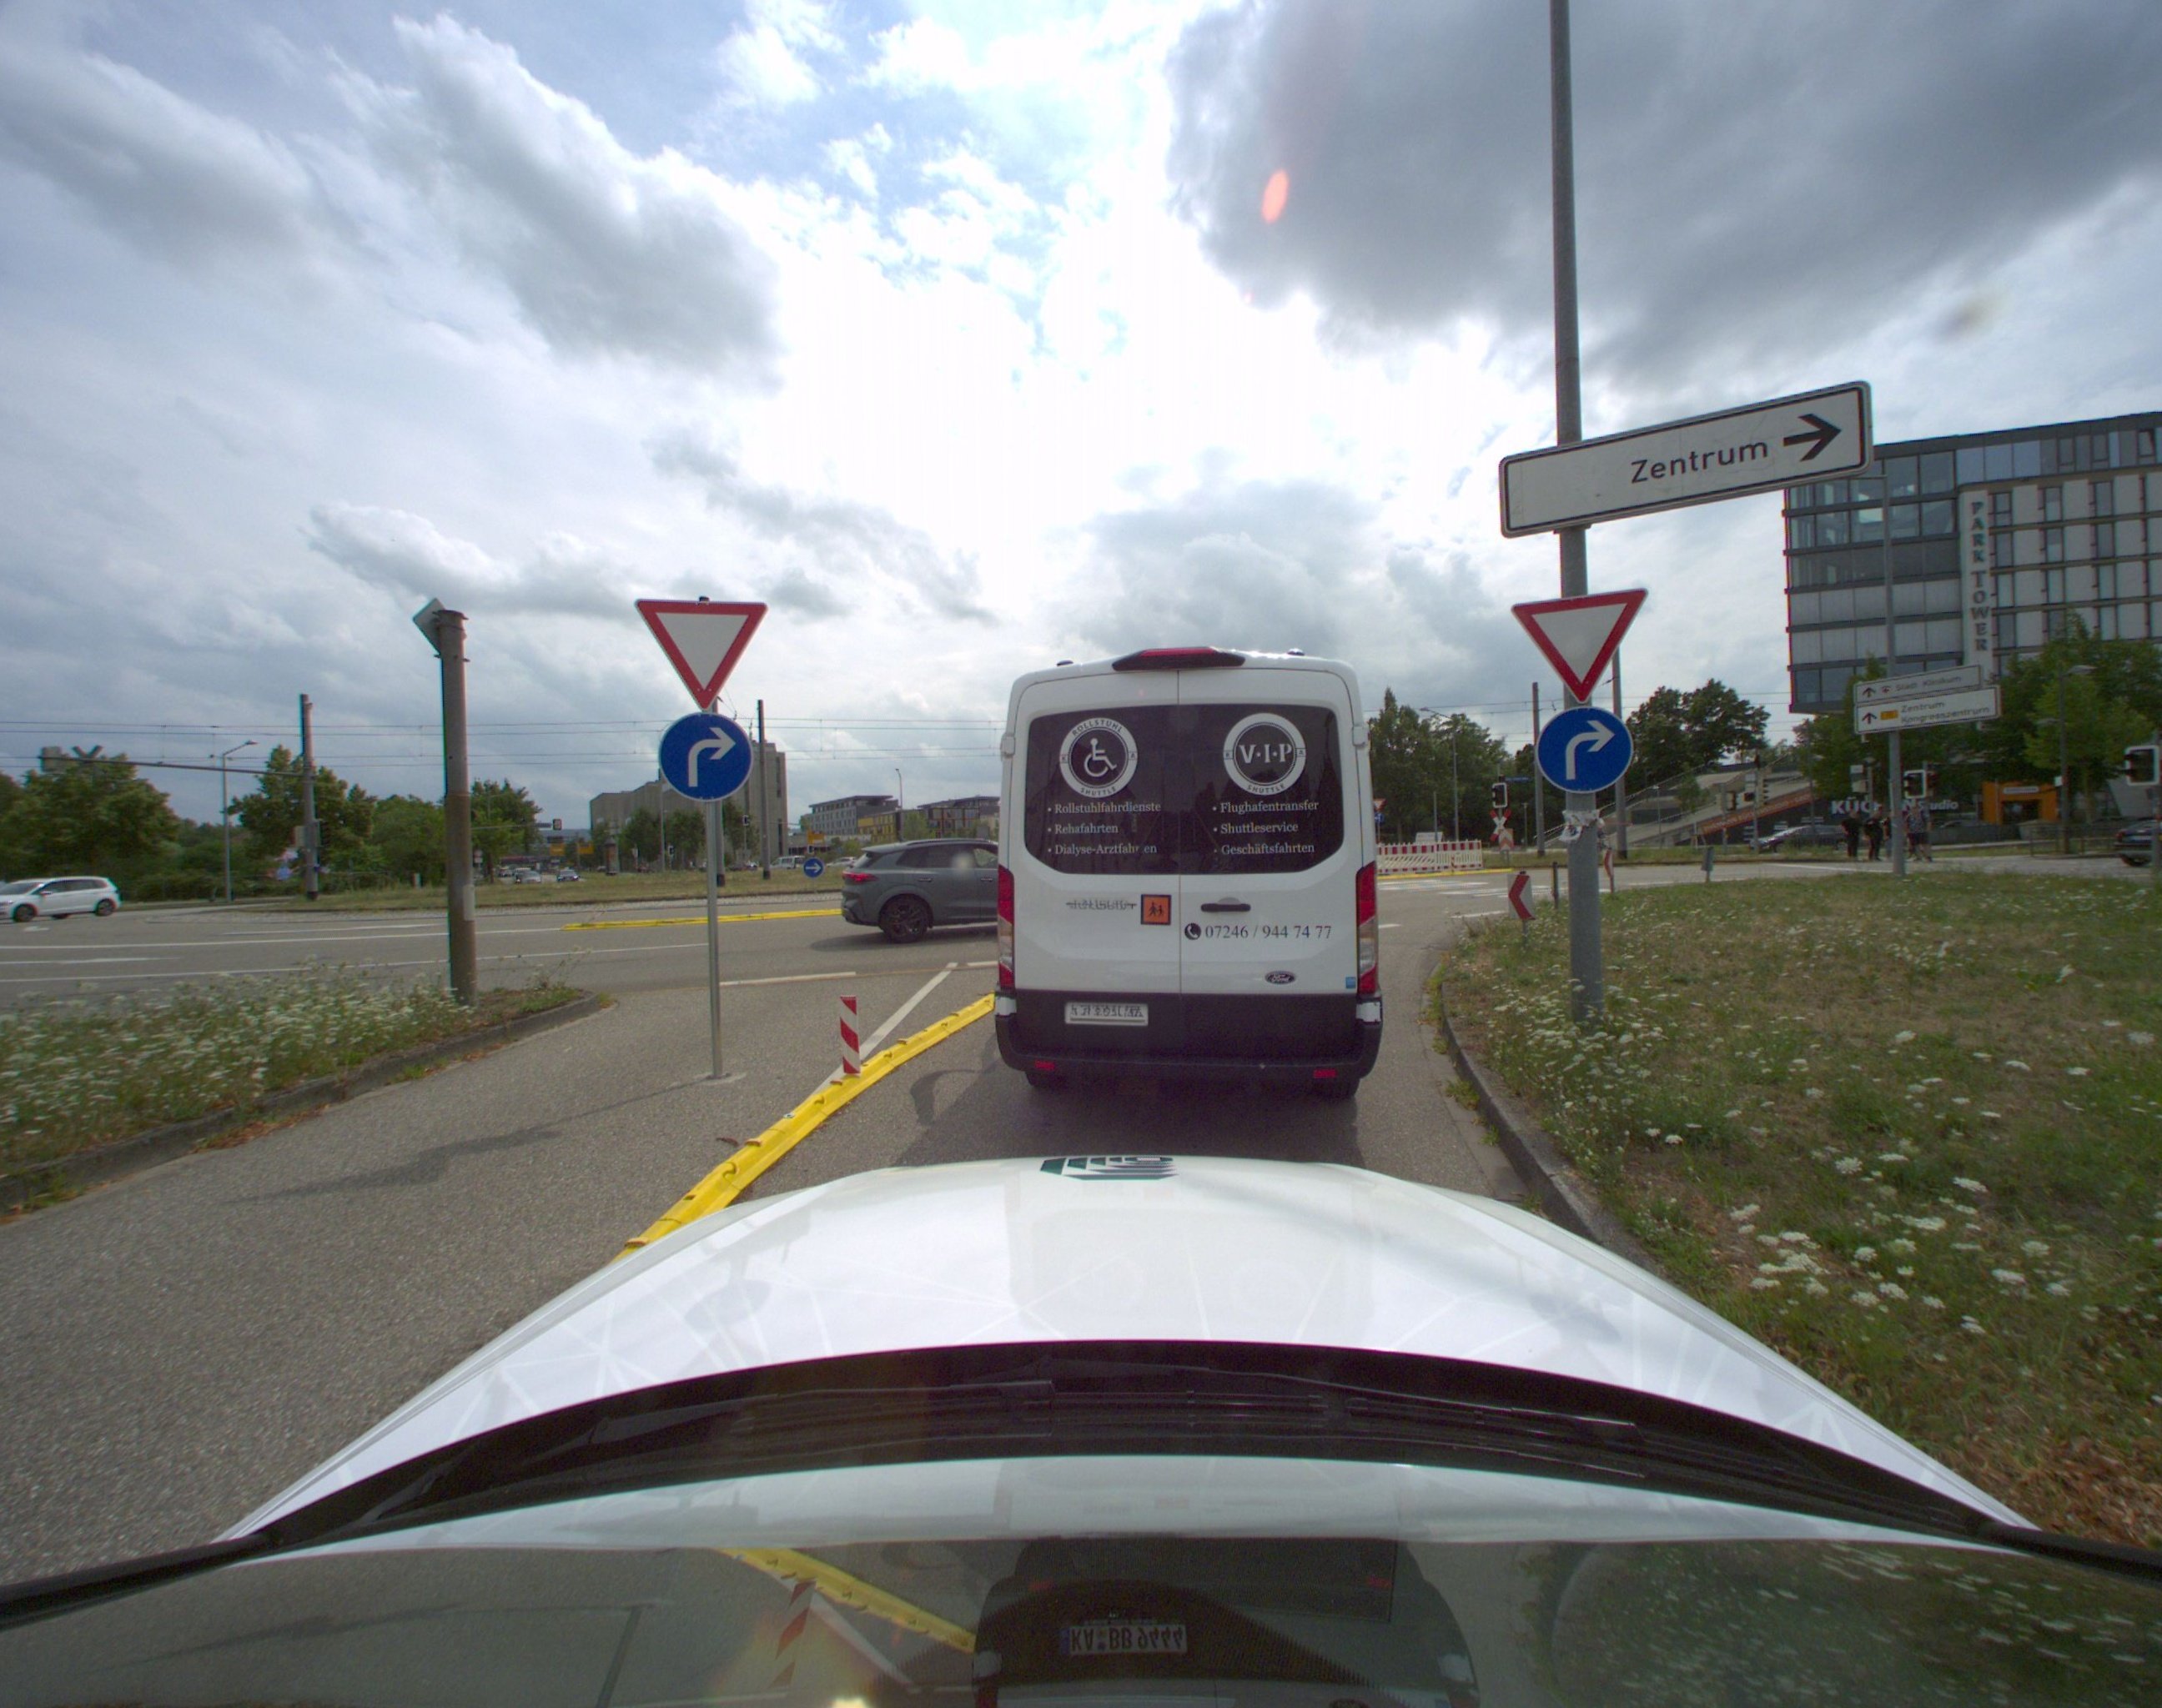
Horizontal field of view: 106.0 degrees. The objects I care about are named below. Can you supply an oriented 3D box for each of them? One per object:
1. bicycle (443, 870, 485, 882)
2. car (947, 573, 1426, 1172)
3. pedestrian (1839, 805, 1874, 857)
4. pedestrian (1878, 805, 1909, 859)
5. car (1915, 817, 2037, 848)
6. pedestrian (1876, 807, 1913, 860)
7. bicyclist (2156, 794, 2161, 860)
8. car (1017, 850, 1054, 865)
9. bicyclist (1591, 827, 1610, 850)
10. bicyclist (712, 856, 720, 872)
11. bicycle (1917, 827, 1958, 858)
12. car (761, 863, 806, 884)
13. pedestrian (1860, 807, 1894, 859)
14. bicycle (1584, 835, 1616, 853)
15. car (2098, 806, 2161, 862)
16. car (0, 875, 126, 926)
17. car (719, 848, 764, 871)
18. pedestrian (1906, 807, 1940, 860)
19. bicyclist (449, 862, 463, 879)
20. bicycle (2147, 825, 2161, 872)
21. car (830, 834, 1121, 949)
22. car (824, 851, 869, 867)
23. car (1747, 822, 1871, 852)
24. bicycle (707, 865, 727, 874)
[{"bbox_3d":[-52.468,1.866,69.237,0.853,0.855,2.676,-2,1,36],"label":"bicycle"},{"bbox_3d":[0.793,0.090,6.577,2.115,2.697,5.643,-2,0,7],"label":"car"},{"bbox_3d":[27.182,-0.800,28.553,0.684,1.781,0.554,-2,1,6],"label":"pedestrian"},{"bbox_3d":[28.602,-0.765,28.674,0.527,1.862,0.554,-2,1,6],"label":"pedestrian"},{"bbox_3d":[46.913,-1.135,42.798,3.958,1.458,1.856,-2,1,14],"label":"car"},{"bbox_3d":[27.983,-0.690,28.006,0.684,1.781,0.554,-2,1,6],"label":"pedestrian"},{"bbox_3d":[26.798,-0.674,19.656,0.781,1.627,1.056,-2,0,40],"label":"bicyclist"},{"bbox_3d":[-4.726,0.375,85.884,1.809,1.463,4.026,-2,0,34],"label":"car"},{"bbox_3d":[30.444,-0.912,47.723,0.637,1.317,0.674,-2,1,-5],"label":"bicyclist"},{"bbox_3d":[-37.988,1.029,84.724,0.650,1.558,0.527,-2,0,-19],"label":"bicyclist"},{"bbox_3d":[30.701,-0.433,29.221,0.541,1.058,1.724,-1,1,30],"label":"bicycle"},{"bbox_3d":[-28.802,1.899,78.888,4.305,2.014,2.013,-2,-1,36],"label":"car"},{"bbox_3d":[27.977,-0.726,28.624,0.628,1.781,0.554,-2,1,6],"label":"pedestrian"},{"bbox_3d":[30.445,-0.583,47.767,0.651,1.007,1.754,-2,1,-4],"label":"bicycle"},{"bbox_3d":[31.213,-0.615,22.300,4.108,1.519,1.746,-2,1,9],"label":"car"},{"bbox_3d":[-40.769,1.807,31.771,1.928,1.665,4.350,-3,2,-4],"label":"car"},{"bbox_3d":[-31.286,0.516,75.052,3.948,2.014,2.013,-2,-1,36],"label":"car"},{"bbox_3d":[28.751,-0.710,27.811,0.575,1.781,0.554,-2,1,6],"label":"pedestrian"},{"bbox_3d":[-52.791,1.362,68.833,0.853,1.409,0.678,-2,0,36],"label":"bicyclist"},{"bbox_3d":[26.930,-0.136,19.805,0.781,1.168,2.054,-2,0,40],"label":"bicycle"},{"bbox_3d":[-1.795,0.528,13.633,4.475,1.551,2.051,-2,1,-20],"label":"car"},{"bbox_3d":[-23.430,0.505,81.363,3.952,1.463,1.843,-1,-1,23],"label":"car"},{"bbox_3d":[39.087,-0.914,43.841,4.689,1.458,1.855,-2,1,13],"label":"car"},{"bbox_3d":[-37.927,1.589,84.767,1.834,0.877,0.527,-2,0,-19],"label":"bicycle"}]
